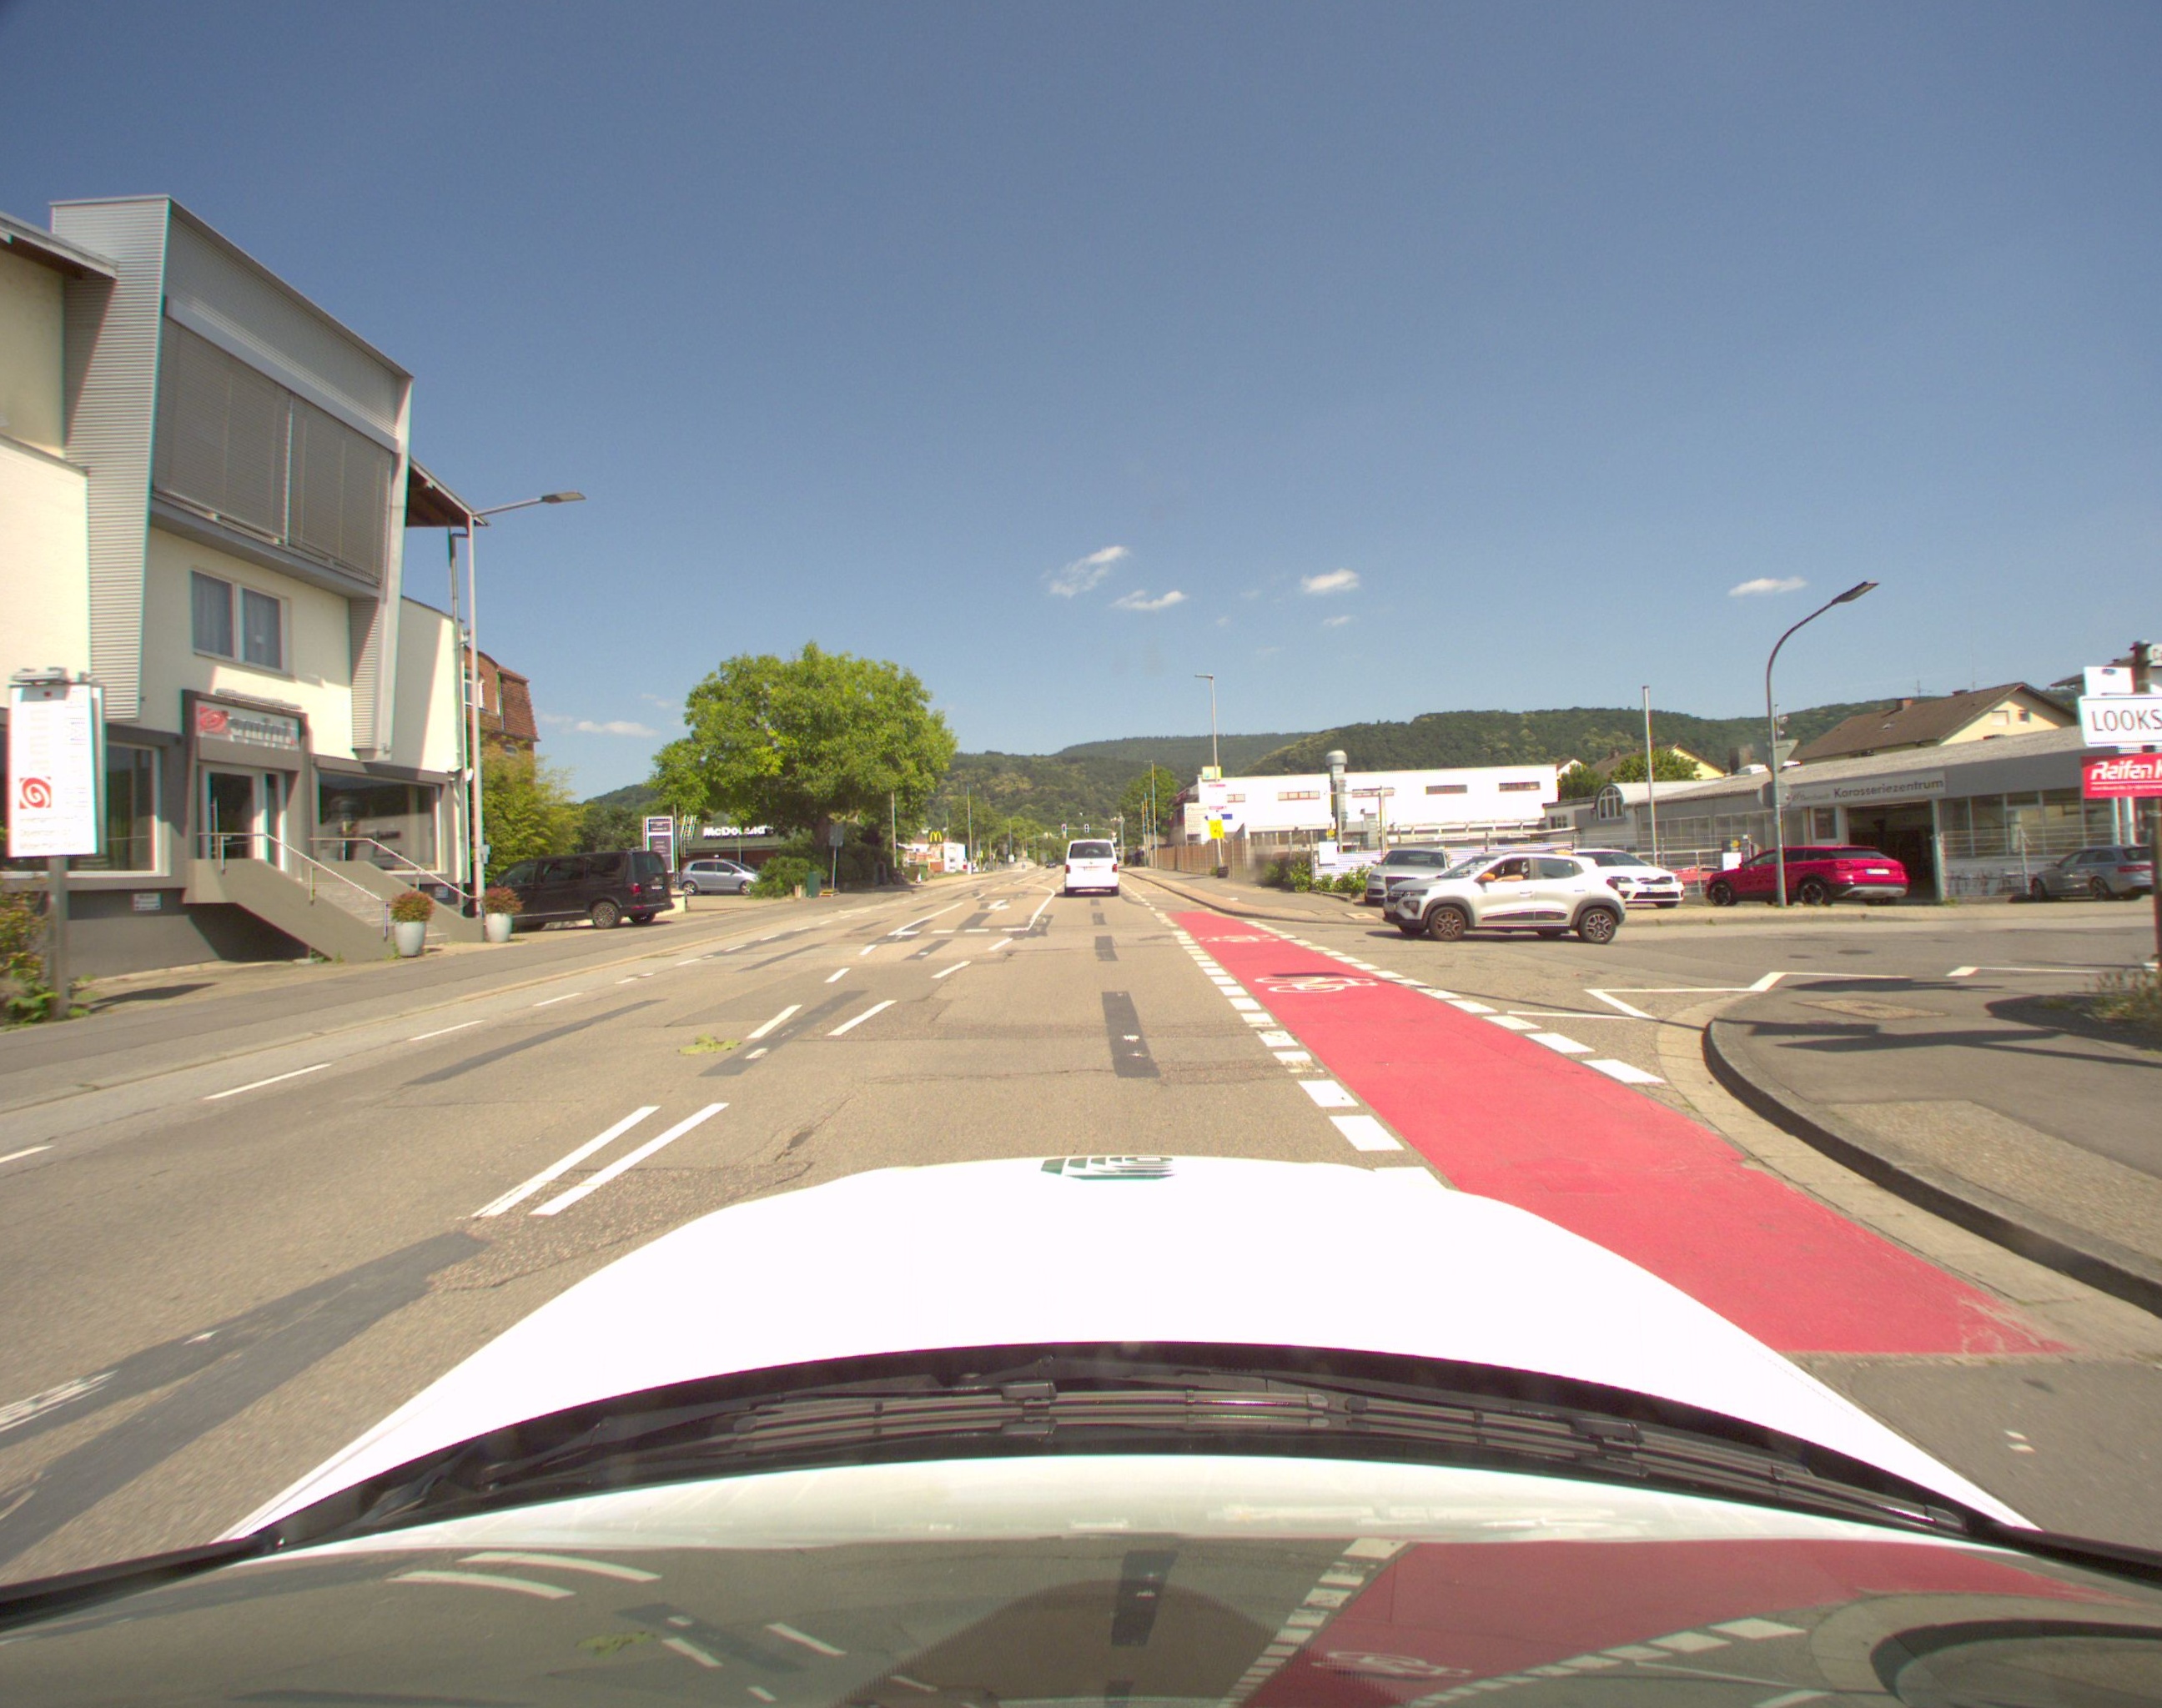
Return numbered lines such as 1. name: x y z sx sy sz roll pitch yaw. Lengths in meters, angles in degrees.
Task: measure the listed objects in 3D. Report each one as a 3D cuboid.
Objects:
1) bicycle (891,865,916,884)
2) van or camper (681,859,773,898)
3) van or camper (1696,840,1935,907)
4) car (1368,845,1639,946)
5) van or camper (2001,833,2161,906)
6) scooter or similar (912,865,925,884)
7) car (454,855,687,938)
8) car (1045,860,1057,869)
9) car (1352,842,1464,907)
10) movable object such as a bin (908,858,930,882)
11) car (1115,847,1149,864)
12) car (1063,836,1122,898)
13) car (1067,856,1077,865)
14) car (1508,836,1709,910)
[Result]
1. bicycle: -10.680 1.228 49.030 1.024 1.118 2.763 0 0 -3
2. van or camper: -15.825 1.070 36.488 3.379 1.665 1.634 0 0 1
3. van or camper: 17.804 0.425 20.070 1.988 1.351 4.226 3 0 -1
4. car: 6.969 0.651 13.700 3.652 1.484 1.728 -2 0 1
5. van or camper: 26.090 0.364 20.712 1.975 1.543 4.254 -7 -4 26
6. scooter or similar: -10.509 1.320 52.765 0.646 1.127 1.619 1 0 -6
7. car: -13.009 1.028 21.035 4.559 1.865 2.089 -2 0 -5
8. car: -5.349 1.850 145.385 1.988 1.370 4.324 -3 0 -1
9. car: 8.075 0.491 19.856 1.933 1.359 4.524 1 -1 30
10. movable object such as a bin: -11.624 1.148 58.488 1.447 1.590 1.303 -3 0 -9
11. car: 6.272 0.175 99.922 3.967 1.775 2.003 -3 0 6
12. car: 0.340 0.432 29.734 1.929 2.059 4.541 -1 0 -2
13. car: -1.652 1.201 149.981 1.843 1.588 4.000 -3 0 0
14. car: 12.389 0.403 19.562 1.842 1.504 4.505 -2 0 -1
